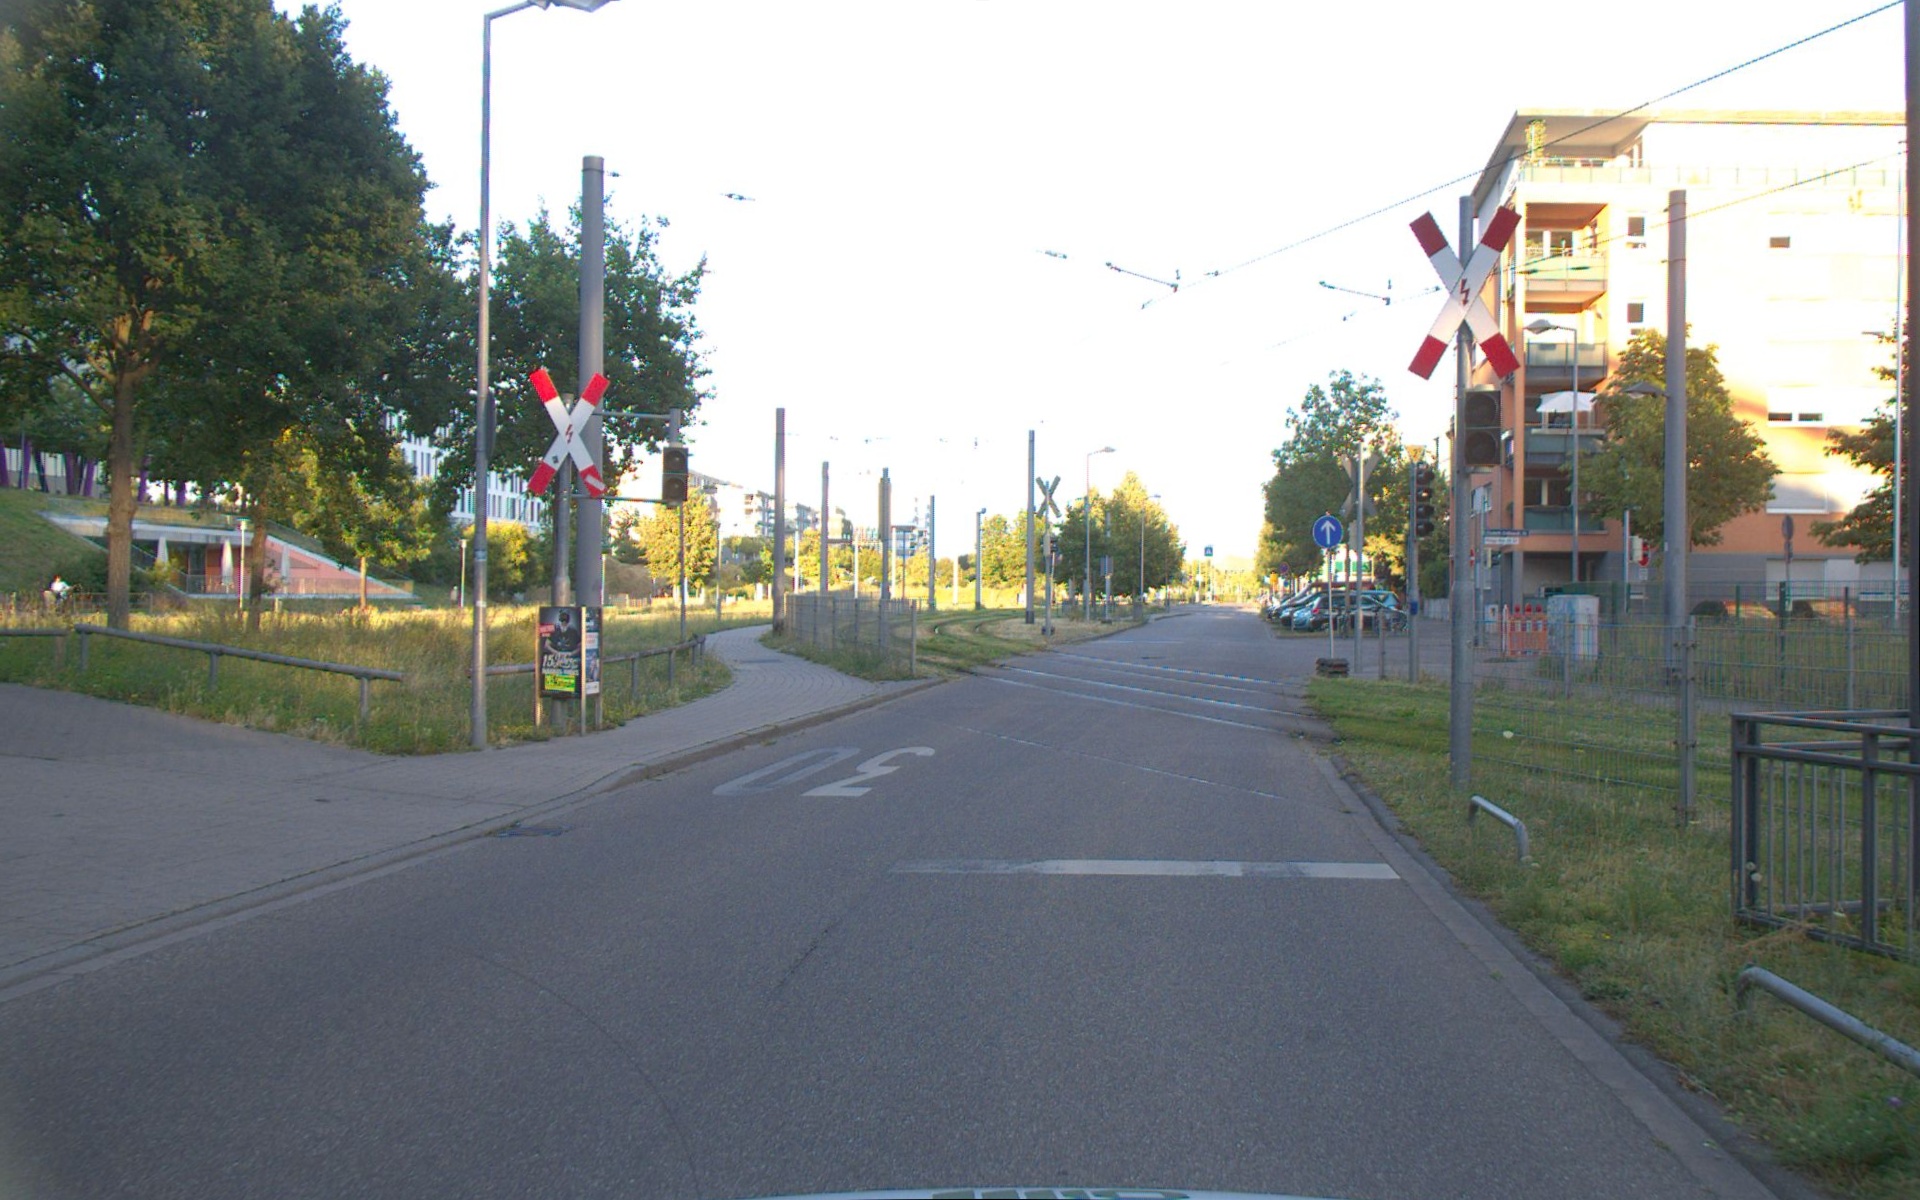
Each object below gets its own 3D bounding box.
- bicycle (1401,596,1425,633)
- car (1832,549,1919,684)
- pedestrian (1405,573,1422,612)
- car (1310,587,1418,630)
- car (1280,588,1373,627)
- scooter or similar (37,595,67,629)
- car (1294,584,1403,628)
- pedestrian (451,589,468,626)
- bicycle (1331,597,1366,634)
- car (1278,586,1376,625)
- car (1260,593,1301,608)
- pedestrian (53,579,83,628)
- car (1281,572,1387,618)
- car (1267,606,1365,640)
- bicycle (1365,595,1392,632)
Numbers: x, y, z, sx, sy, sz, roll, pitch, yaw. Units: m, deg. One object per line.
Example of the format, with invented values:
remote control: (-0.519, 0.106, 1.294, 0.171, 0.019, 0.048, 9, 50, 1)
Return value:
bicycle: (15.473, 0.487, 56.552, 0.518, 1.146, 1.965, 2, 2, 8)
car: (15.725, 0.249, 26.453, 1.951, 2.049, 4.003, 1, 0, 9)
pedestrian: (20.977, -0.359, 76.506, 0.654, 1.773, 0.700, 0, 0, 10)
car: (14.851, 0.305, 60.910, 3.670, 1.499, 1.614, 1, 0, 5)
car: (15.189, 0.313, 68.599, 3.693, 1.522, 1.540, 0, -2, 10)
scooter or similar: (-34.529, 0.442, 62.882, 0.603, 1.265, 0.791, 2, 0, 9)
car: (14.834, 0.229, 63.297, 3.963, 1.596, 1.674, -1, 0, 10)
pedestrian: (-29.340, 0.448, 96.992, 0.603, 2.118, 0.791, 2, 0, 9)
bicycle: (13.213, 0.511, 56.277, 0.702, 1.172, 1.898, -1, 2, 0)
car: (16.153, 0.226, 73.039, 4.125, 1.596, 1.794, -2, 0, 10)
car: (35.037, 0.051, 180.930, 4.388, 1.624, 2.002, 0, 0, 11)
pedestrian: (-34.420, 0.139, 63.851, 0.603, 1.868, 0.791, 2, 0, 9)
car: (17.622, -0.251, 78.178, 4.814, 2.154, 2.018, 0, 0, 11)
car: (17.398, 1.109, 81.010, 4.569, 1.584, 1.813, 0, 0, 9)
bicycle: (14.225, 0.454, 56.249, 0.664, 1.172, 1.929, -2, 1, 8)
